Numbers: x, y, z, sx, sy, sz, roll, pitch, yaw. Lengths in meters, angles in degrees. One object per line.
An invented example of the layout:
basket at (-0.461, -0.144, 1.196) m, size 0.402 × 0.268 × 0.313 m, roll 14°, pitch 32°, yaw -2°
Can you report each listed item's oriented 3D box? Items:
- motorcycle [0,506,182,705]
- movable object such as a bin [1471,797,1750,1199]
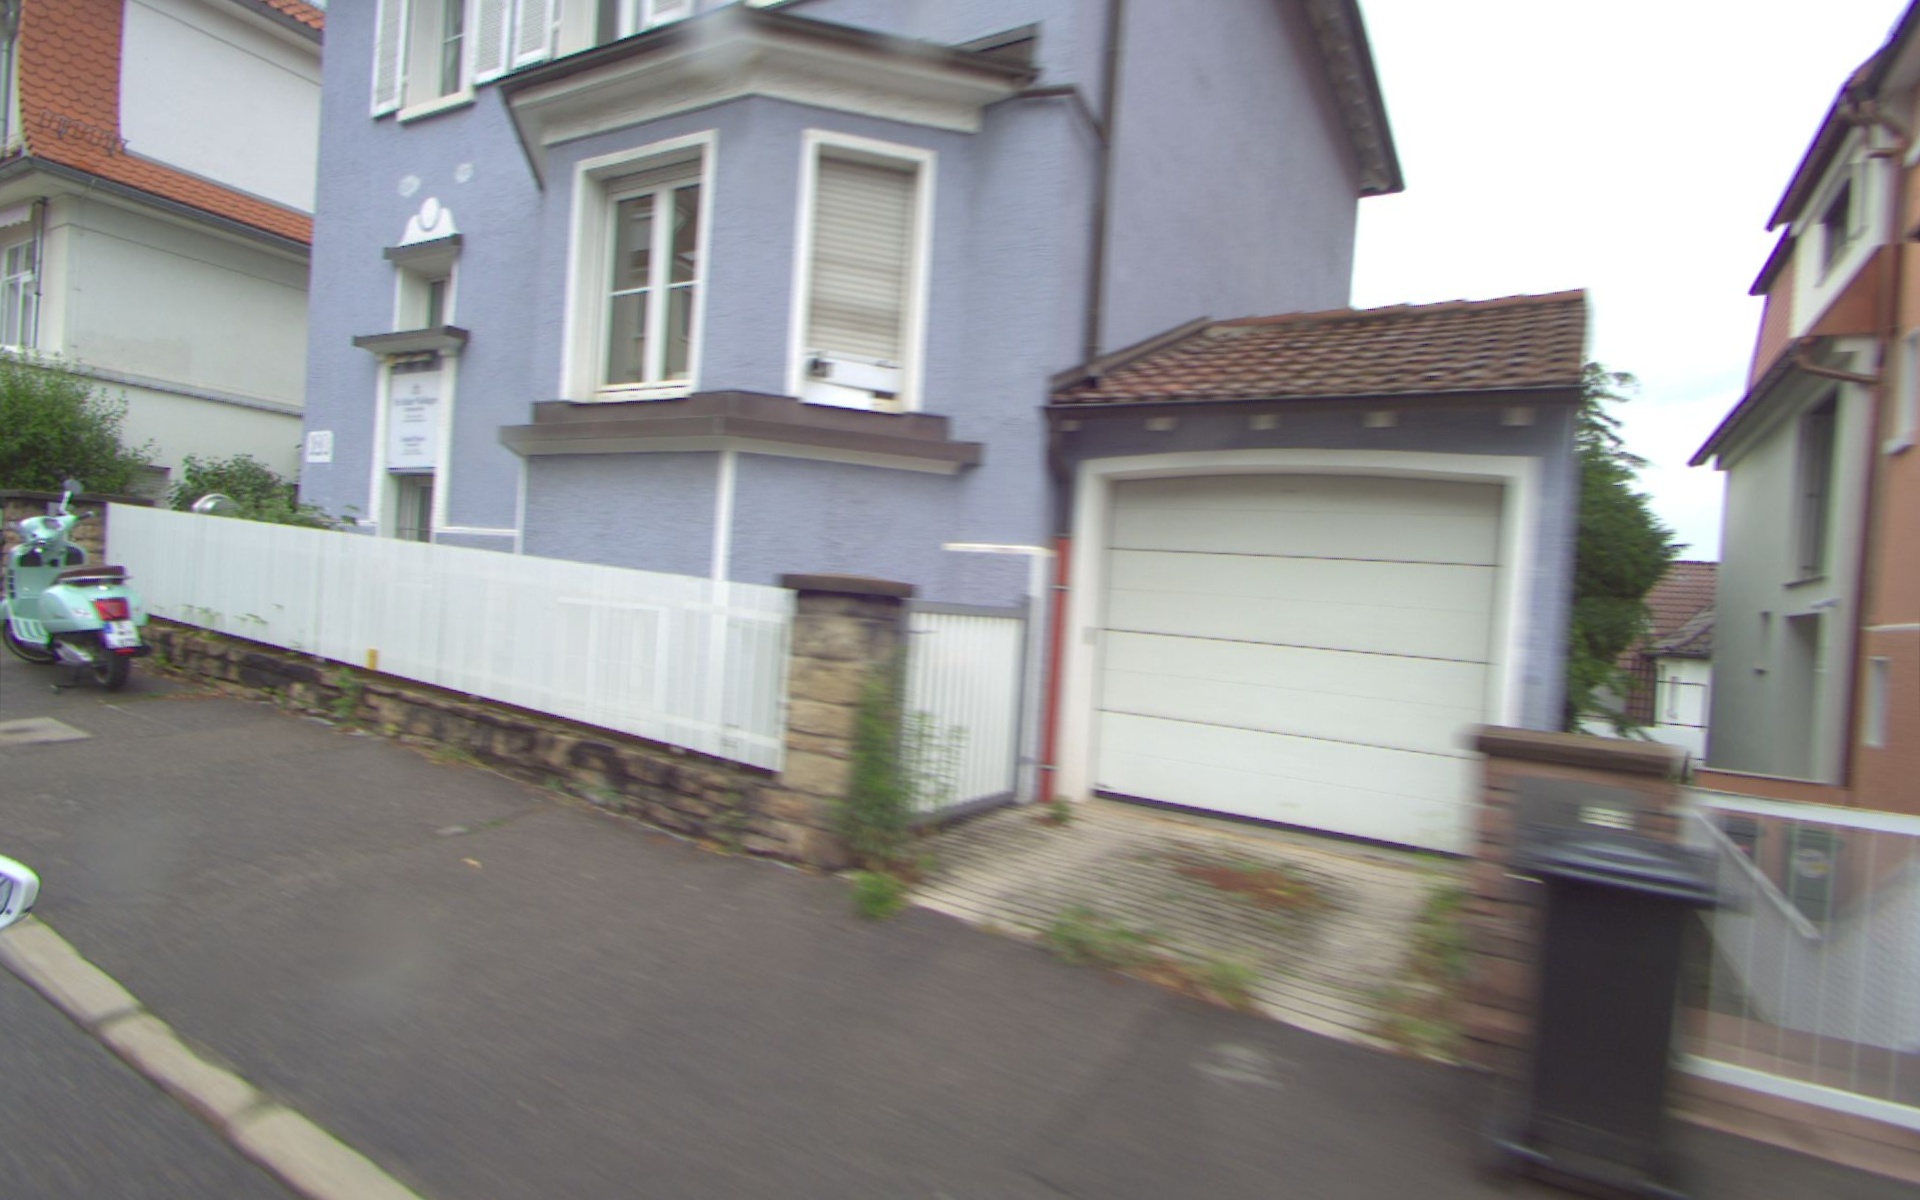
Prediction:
motorcycle at (-6.598, -0.033, 7.448) m, size 2.119 × 1.244 × 0.691 m, roll 6°, pitch 7°, yaw 35°
movable object such as a bin at (1.690, 1.072, 2.684) m, size 0.480 × 0.931 × 0.532 m, roll 6°, pitch 4°, yaw 28°
